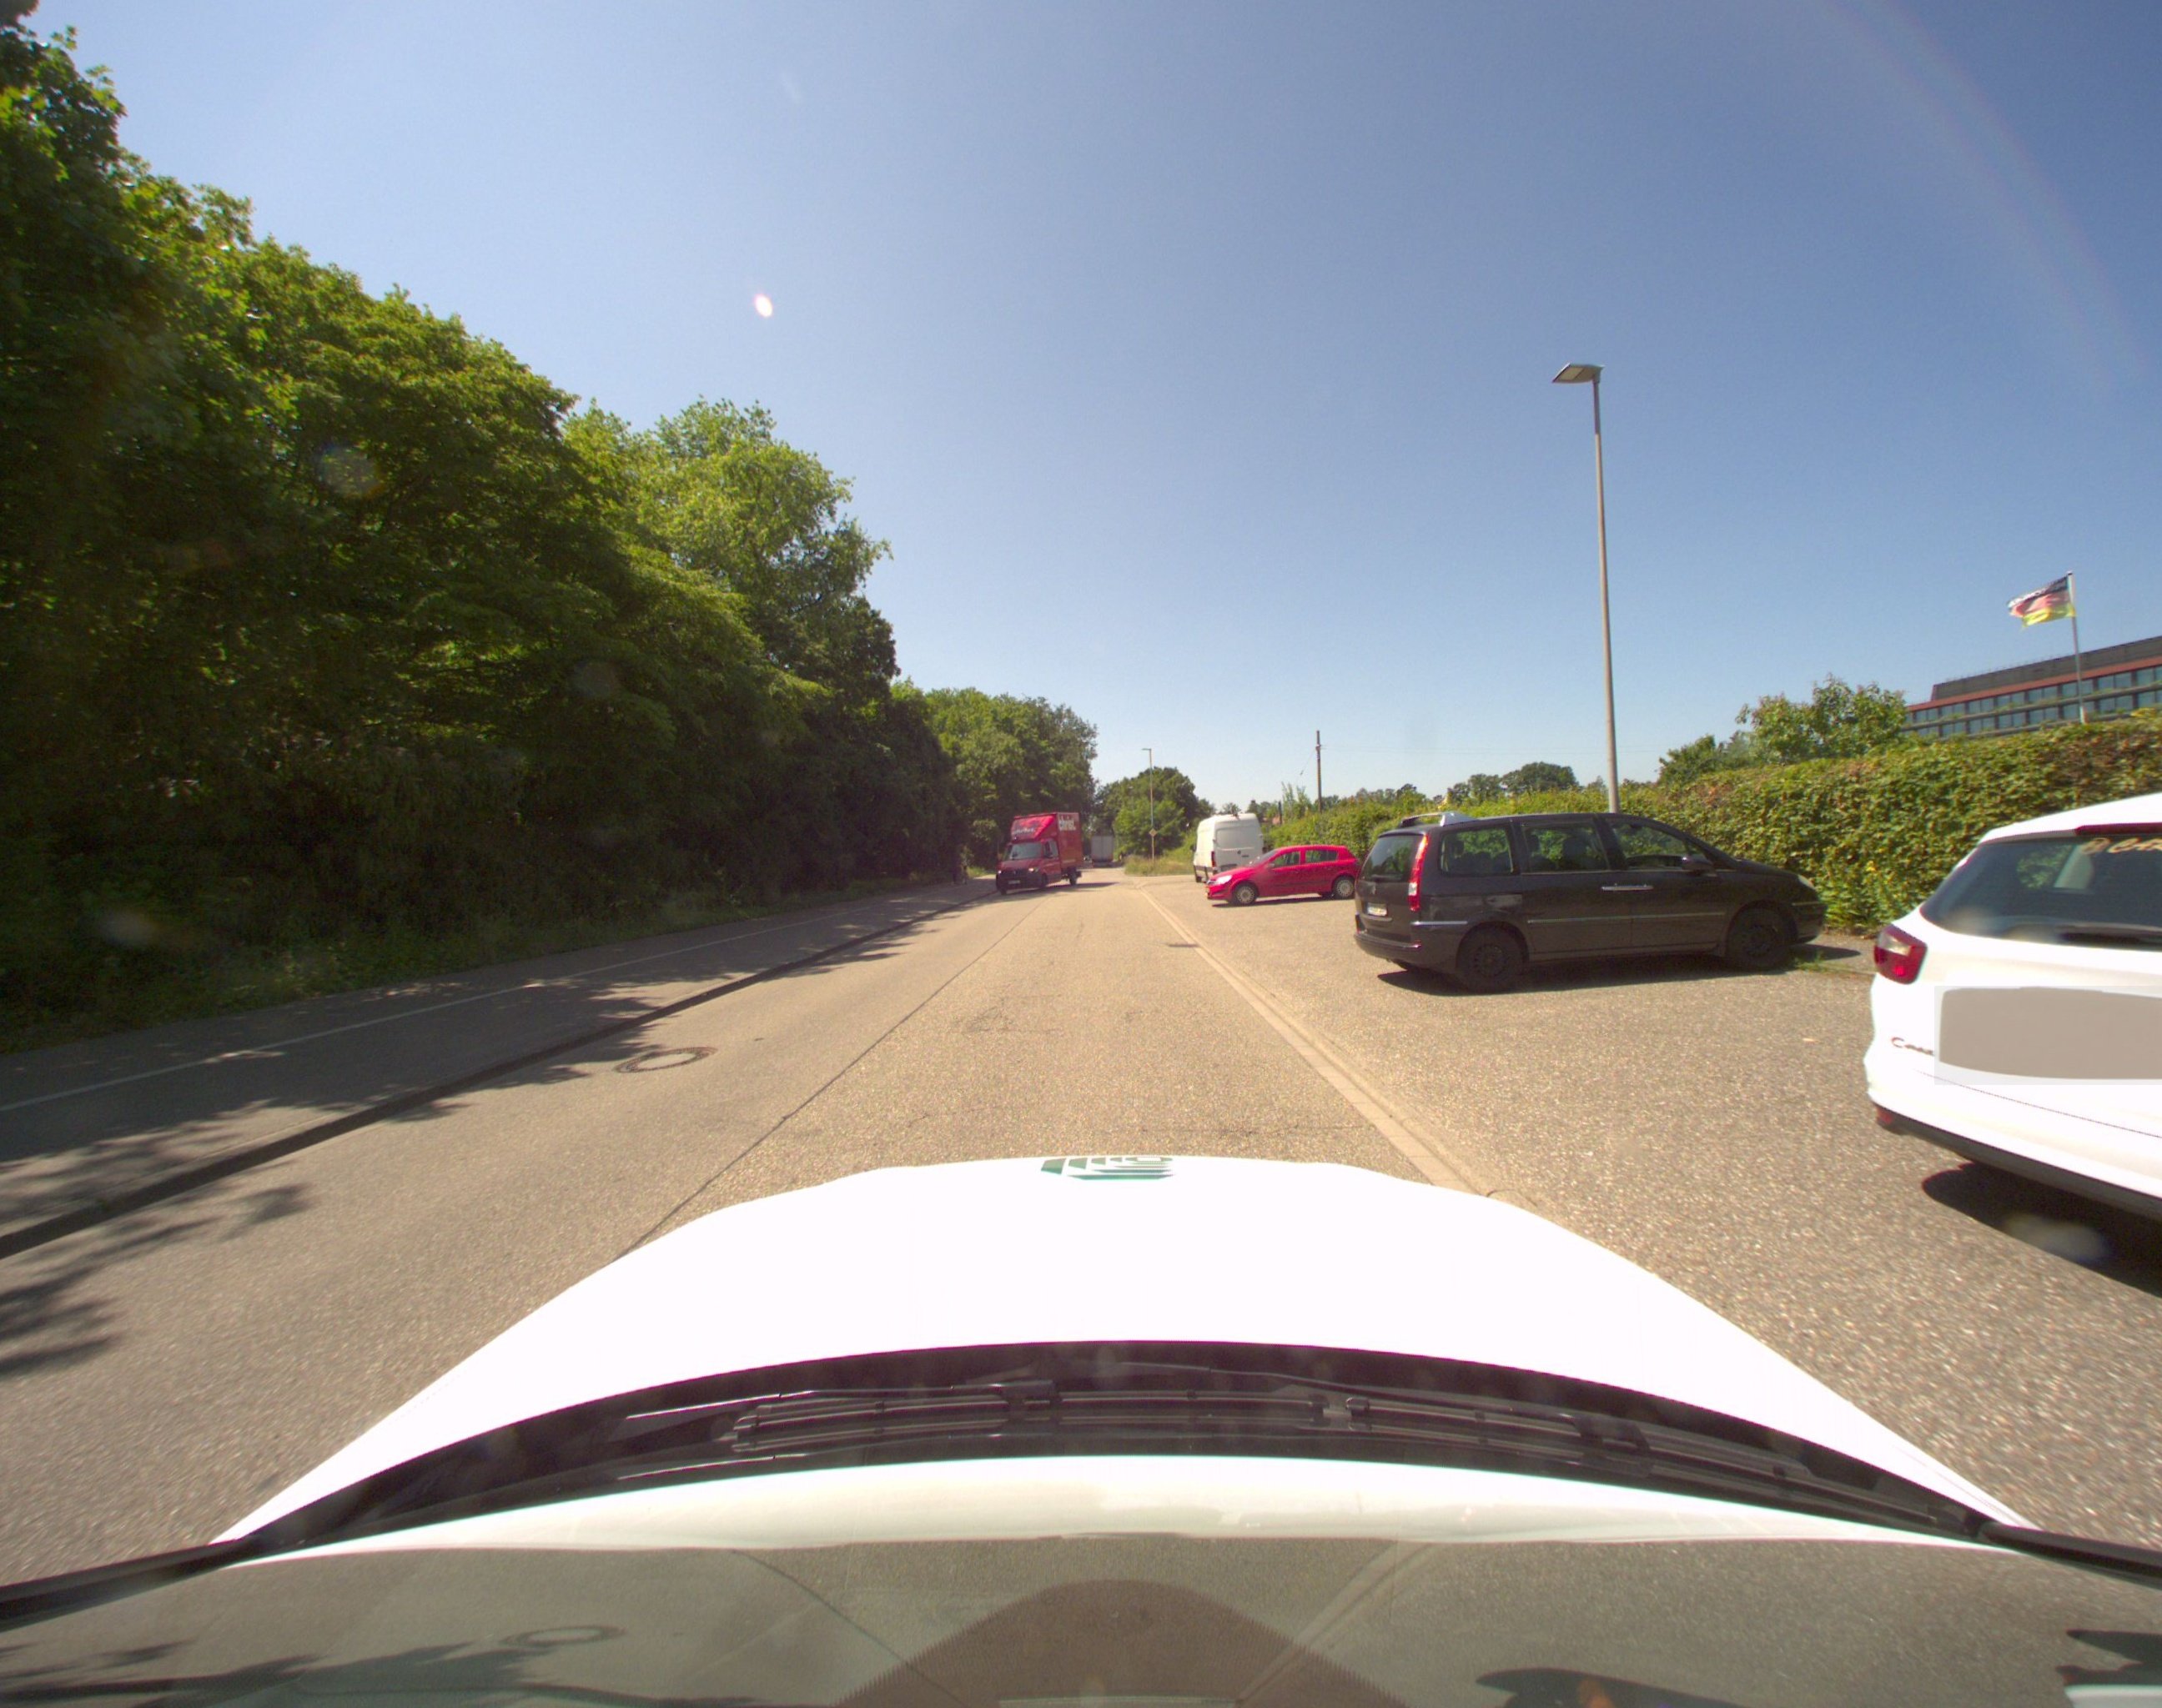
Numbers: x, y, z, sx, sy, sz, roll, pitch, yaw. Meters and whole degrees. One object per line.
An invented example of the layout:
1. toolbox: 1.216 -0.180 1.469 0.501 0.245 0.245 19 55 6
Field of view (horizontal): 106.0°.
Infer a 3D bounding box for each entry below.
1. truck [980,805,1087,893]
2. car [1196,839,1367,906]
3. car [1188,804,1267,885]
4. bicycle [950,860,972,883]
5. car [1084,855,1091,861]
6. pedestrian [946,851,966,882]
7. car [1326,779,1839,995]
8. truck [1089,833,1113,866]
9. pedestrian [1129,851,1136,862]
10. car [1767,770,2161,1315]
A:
1. truck: -1.936 -0.261 36.679 2.305 3.440 7.191 -5 0 16
2. car: 5.297 0.477 21.869 4.043 1.434 1.834 -4 0 -2
3. car: 5.642 -0.340 32.352 1.947 2.733 7.171 -4 0 2
4. bicycle: -6.630 0.964 44.992 0.518 1.236 1.968 0 -1 13
5. car: 1.949 1.182 247.810 1.986 1.684 4.264 -2 0 2
6. pedestrian: -6.929 0.702 45.114 0.802 1.718 0.780 -1 0 17
7. car: 5.279 0.317 8.998 4.443 1.805 1.950 -4 -1 -4
8. truck: 2.513 -0.530 99.293 2.723 3.746 13.251 -1 0 2
9. pedestrian: 7.649 0.401 120.791 0.860 1.677 0.885 -2 0 0
10. car: 5.206 0.399 2.763 4.264 1.578 1.764 -4 0 -2
